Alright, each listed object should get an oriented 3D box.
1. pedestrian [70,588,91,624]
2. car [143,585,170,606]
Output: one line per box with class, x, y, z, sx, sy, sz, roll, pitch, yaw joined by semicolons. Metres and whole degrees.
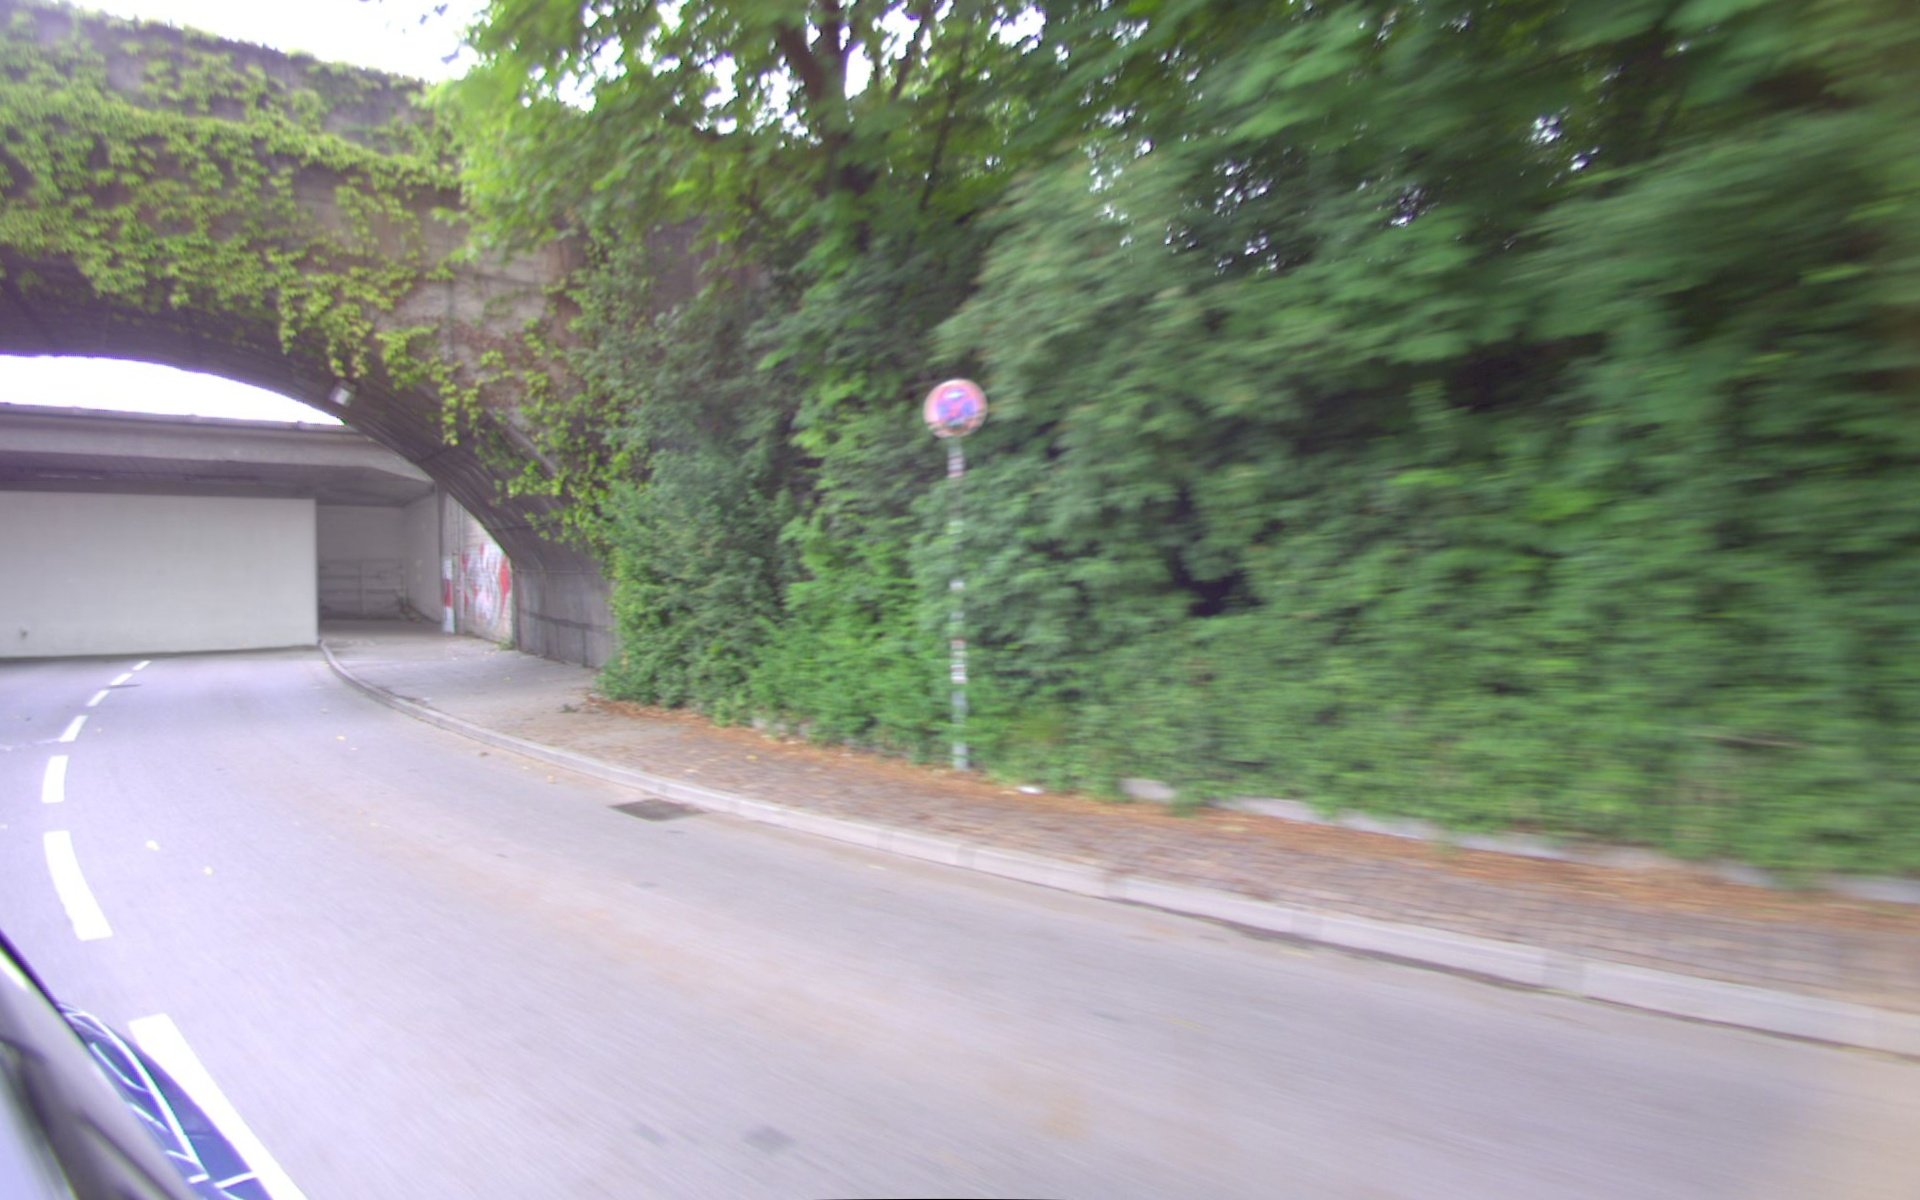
pedestrian;-47.266;0.335;54.395;0.809;1.894;1.182;1;0;-41
car;-68.509;-0.384;86.274;1.779;1.622;4.185;0;3;-39
